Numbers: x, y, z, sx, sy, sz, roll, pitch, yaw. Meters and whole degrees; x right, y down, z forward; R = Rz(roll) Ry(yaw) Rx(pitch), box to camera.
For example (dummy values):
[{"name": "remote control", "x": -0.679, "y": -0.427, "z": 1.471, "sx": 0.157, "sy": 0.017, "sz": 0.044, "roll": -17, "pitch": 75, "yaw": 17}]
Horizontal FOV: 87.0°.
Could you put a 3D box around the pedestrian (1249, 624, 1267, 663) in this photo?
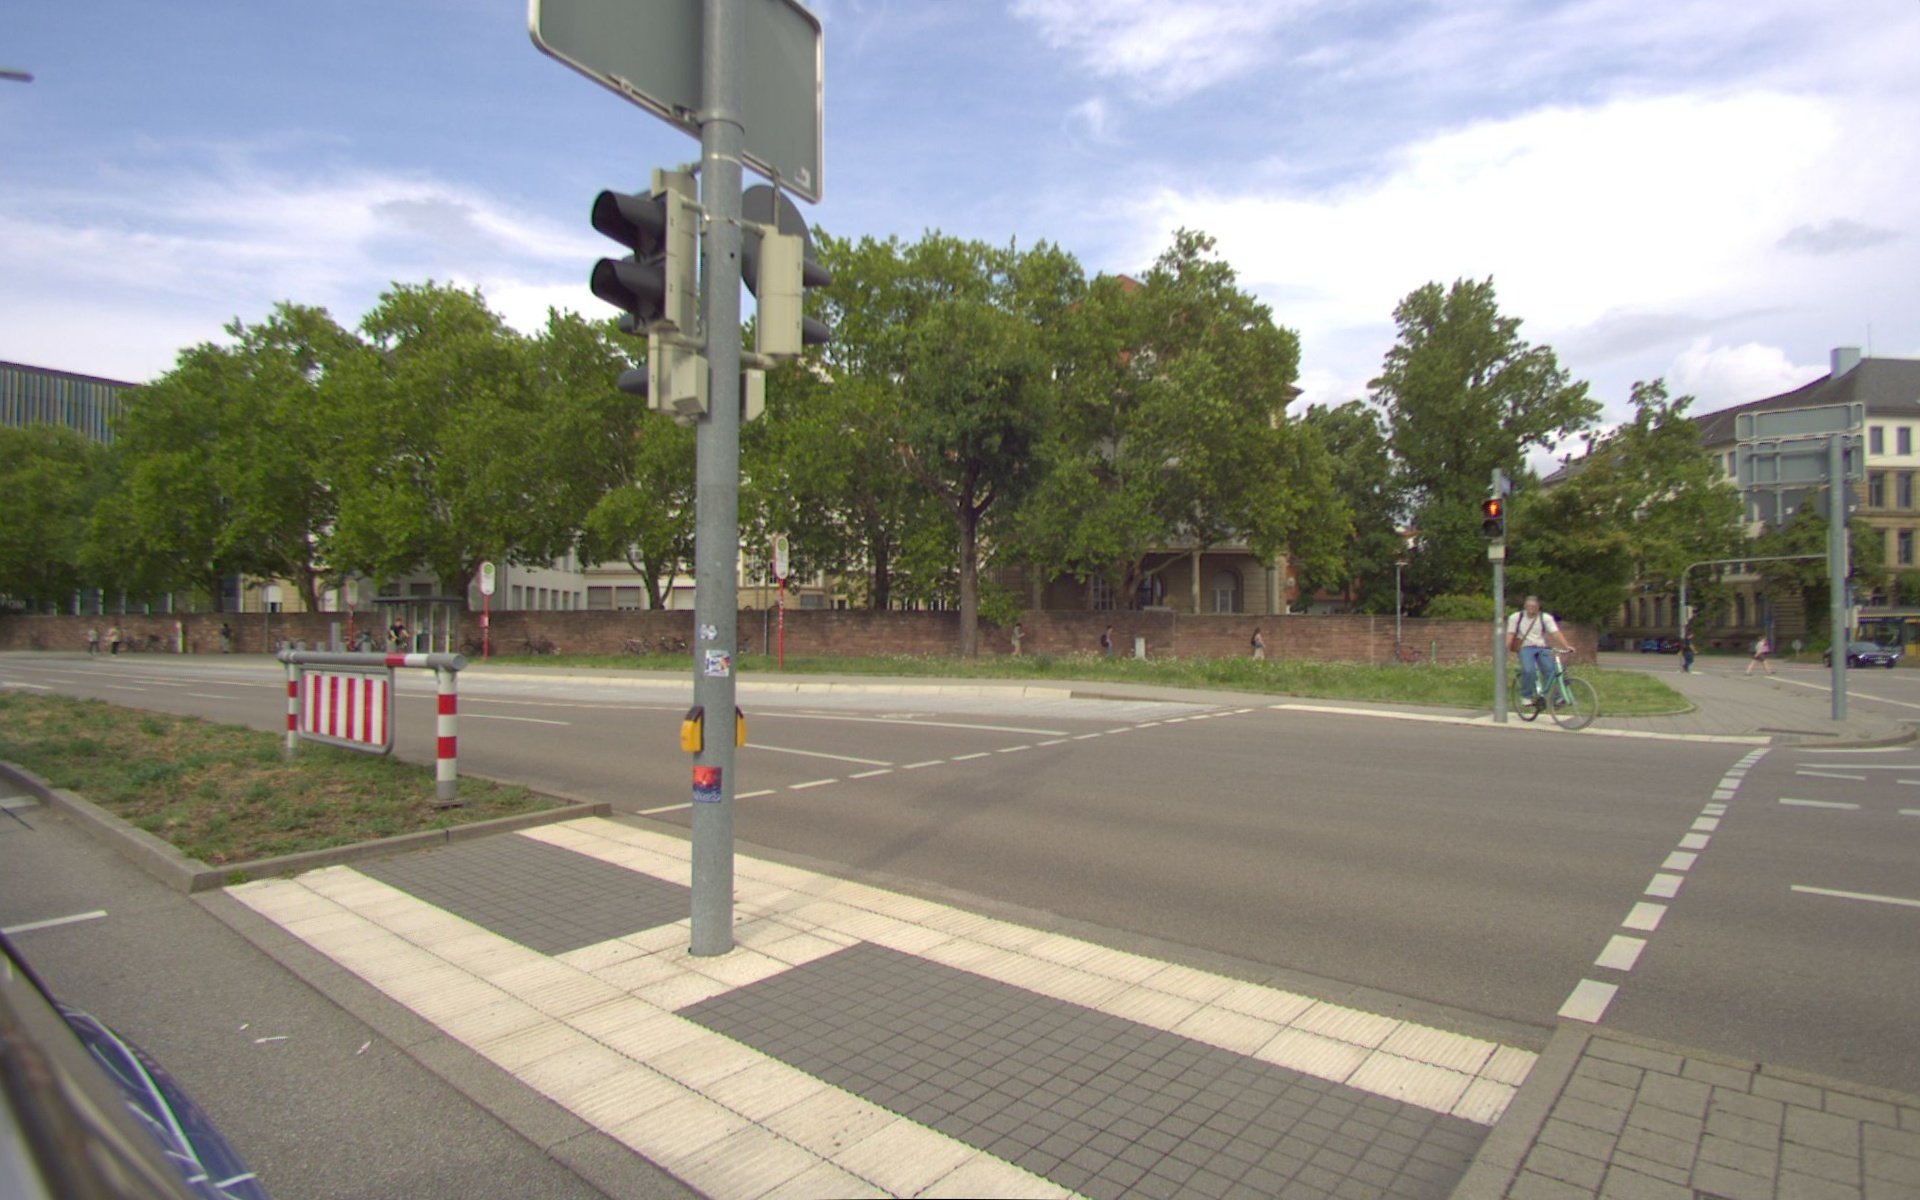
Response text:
[{"name": "pedestrian", "x": 13.068, "y": 1.898, "z": 44.450, "sx": 0.621, "sy": 1.667, "sz": 0.531, "roll": -1, "pitch": 0, "yaw": 2}]

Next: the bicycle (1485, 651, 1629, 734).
[{"name": "bicycle", "x": 8.066, "y": 1.221, "z": 13.785, "sx": 0.498, "sy": 0.943, "sz": 1.976, "roll": 1, "pitch": 0, "yaw": -11}]

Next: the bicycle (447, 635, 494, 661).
[{"name": "bicycle", "x": -23.970, "y": 2.358, "z": 49.562, "sx": 2.079, "sy": 1.198, "sz": 0.755, "roll": -1, "pitch": -4, "yaw": 15}]

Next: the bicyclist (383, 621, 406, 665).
[{"name": "bicyclist", "x": -20.920, "y": 1.589, "z": 37.424, "sx": 0.571, "sy": 1.567, "sz": 0.799, "roll": 1, "pitch": -1, "yaw": -40}]

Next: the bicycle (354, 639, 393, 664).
[{"name": "bicycle", "x": -28.864, "y": 2.563, "z": 49.849, "sx": 0.747, "sy": 1.198, "sz": 2.100, "roll": 0, "pitch": -4, "yaw": -4}]

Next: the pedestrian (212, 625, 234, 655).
[{"name": "pedestrian", "x": -40.037, "y": 2.163, "z": 55.002, "sx": 0.655, "sy": 1.634, "sz": 0.756, "roll": -1, "pitch": 0, "yaw": -5}]

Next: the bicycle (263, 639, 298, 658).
[{"name": "bicycle", "x": -35.907, "y": 2.563, "z": 53.479, "sx": 1.562, "sy": 0.894, "sz": 0.658, "roll": -2, "pitch": 1, "yaw": 17}]

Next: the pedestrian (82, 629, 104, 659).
[{"name": "pedestrian", "x": -48.752, "y": 2.453, "z": 56.921, "sx": 0.663, "sy": 1.634, "sz": 0.747, "roll": -1, "pitch": 0, "yaw": 30}]

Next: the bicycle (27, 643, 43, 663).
[{"name": "bicycle", "x": -58.965, "y": 3.358, "z": 64.491, "sx": 1.393, "sy": 1.218, "sz": 0.507, "roll": -1, "pitch": 0, "yaw": 36}]

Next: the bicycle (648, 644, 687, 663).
[{"name": "bicycle", "x": -13.611, "y": 2.513, "z": 47.056, "sx": 1.793, "sy": 0.871, "sz": 0.357, "roll": -1, "pitch": -4, "yaw": 16}]

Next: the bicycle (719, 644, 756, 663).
[{"name": "bicycle", "x": -10.237, "y": 2.459, "z": 46.560, "sx": 1.690, "sy": 0.871, "sz": 0.357, "roll": -1, "pitch": -4, "yaw": 11}]

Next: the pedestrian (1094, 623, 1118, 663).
[{"name": "pedestrian", "x": 6.250, "y": 1.820, "z": 43.341, "sx": 0.768, "sy": 1.667, "sz": 0.579, "roll": -1, "pitch": 0, "yaw": -24}]

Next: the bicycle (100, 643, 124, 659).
[{"name": "bicycle", "x": -50.362, "y": 3.043, "z": 60.087, "sx": 1.567, "sy": 0.894, "sz": 0.429, "roll": -2, "pitch": 1, "yaw": 26}]

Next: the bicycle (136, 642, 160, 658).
[{"name": "bicycle", "x": -47.103, "y": 2.894, "z": 58.684, "sx": 1.567, "sy": 0.894, "sz": 0.429, "roll": -2, "pitch": 1, "yaw": 26}]

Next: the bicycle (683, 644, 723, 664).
[{"name": "bicycle", "x": -11.827, "y": 2.484, "z": 46.512, "sx": 1.875, "sy": 0.871, "sz": 0.357, "roll": -1, "pitch": -4, "yaw": 18}]

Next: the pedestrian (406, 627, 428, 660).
[{"name": "pedestrian", "x": -27.041, "y": 2.168, "z": 50.382, "sx": 0.747, "sy": 1.634, "sz": 0.566, "roll": -1, "pitch": 0, "yaw": 14}]

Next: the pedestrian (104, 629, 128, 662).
[{"name": "pedestrian", "x": -43.526, "y": 2.341, "z": 52.205, "sx": 0.663, "sy": 1.634, "sz": 0.747, "roll": -1, "pitch": 0, "yaw": 30}]

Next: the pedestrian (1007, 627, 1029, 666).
[{"name": "pedestrian", "x": 2.490, "y": 1.999, "z": 43.546, "sx": 0.769, "sy": 1.667, "sz": 0.579, "roll": -1, "pitch": 0, "yaw": -17}]

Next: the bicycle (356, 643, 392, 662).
[{"name": "bicycle", "x": -29.699, "y": 2.638, "z": 51.283, "sx": 1.562, "sy": 0.894, "sz": 0.658, "roll": -2, "pitch": 1, "yaw": 17}]

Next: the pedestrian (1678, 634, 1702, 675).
[{"name": "pedestrian", "x": 31.825, "y": 2.379, "z": 44.094, "sx": 0.799, "sy": 1.724, "sz": 0.829, "roll": -1, "pitch": 0, "yaw": 38}]

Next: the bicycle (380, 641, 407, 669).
[{"name": "bicycle", "x": -20.999, "y": 2.014, "z": 37.486, "sx": 0.498, "sy": 0.943, "sz": 1.975, "roll": 1, "pitch": 0, "yaw": -40}]

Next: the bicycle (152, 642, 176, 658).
[{"name": "bicycle", "x": -45.276, "y": 2.838, "z": 57.571, "sx": 1.567, "sy": 0.894, "sz": 0.429, "roll": -2, "pitch": 1, "yaw": 26}]

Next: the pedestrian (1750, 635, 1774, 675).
[{"name": "pedestrian", "x": 35.216, "y": 2.401, "z": 44.443, "sx": 0.799, "sy": 1.724, "sz": 0.829, "roll": -1, "pitch": 0, "yaw": 38}]

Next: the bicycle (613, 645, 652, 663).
[{"name": "bicycle", "x": -15.381, "y": 2.542, "z": 47.511, "sx": 1.804, "sy": 0.871, "sz": 0.357, "roll": -1, "pitch": -4, "yaw": 13}]

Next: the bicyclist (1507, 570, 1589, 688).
[{"name": "bicyclist", "x": 8.046, "y": 0.389, "z": 13.878, "sx": 0.570, "sy": 1.567, "sz": 0.800, "roll": 1, "pitch": 0, "yaw": -10}]

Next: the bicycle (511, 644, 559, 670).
[{"name": "bicycle", "x": -20.338, "y": 2.725, "z": 48.427, "sx": 2.079, "sy": 1.198, "sz": 0.755, "roll": -1, "pitch": -4, "yaw": 15}]

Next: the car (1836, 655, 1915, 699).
[{"name": "car", "x": 48.253, "y": 4.009, "z": 53.440, "sx": 1.989, "sy": 2.029, "sz": 3.965, "roll": -1, "pitch": 0, "yaw": 26}]

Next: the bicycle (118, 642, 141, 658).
[{"name": "bicycle", "x": -48.659, "y": 2.920, "z": 59.285, "sx": 1.567, "sy": 0.894, "sz": 0.429, "roll": -2, "pitch": 1, "yaw": 26}]

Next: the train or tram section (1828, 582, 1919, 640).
[{"name": "train or tram section", "x": 55.556, "y": 0.605, "z": 58.087, "sx": 3.018, "sy": 3.302, "sz": 9.374, "roll": -1, "pitch": 0, "yaw": -2}]

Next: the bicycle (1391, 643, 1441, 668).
[{"name": "bicycle", "x": 20.426, "y": 2.471, "z": 45.343, "sx": 1.895, "sy": 1.012, "sz": 0.781, "roll": -1, "pitch": 0, "yaw": -9}]
